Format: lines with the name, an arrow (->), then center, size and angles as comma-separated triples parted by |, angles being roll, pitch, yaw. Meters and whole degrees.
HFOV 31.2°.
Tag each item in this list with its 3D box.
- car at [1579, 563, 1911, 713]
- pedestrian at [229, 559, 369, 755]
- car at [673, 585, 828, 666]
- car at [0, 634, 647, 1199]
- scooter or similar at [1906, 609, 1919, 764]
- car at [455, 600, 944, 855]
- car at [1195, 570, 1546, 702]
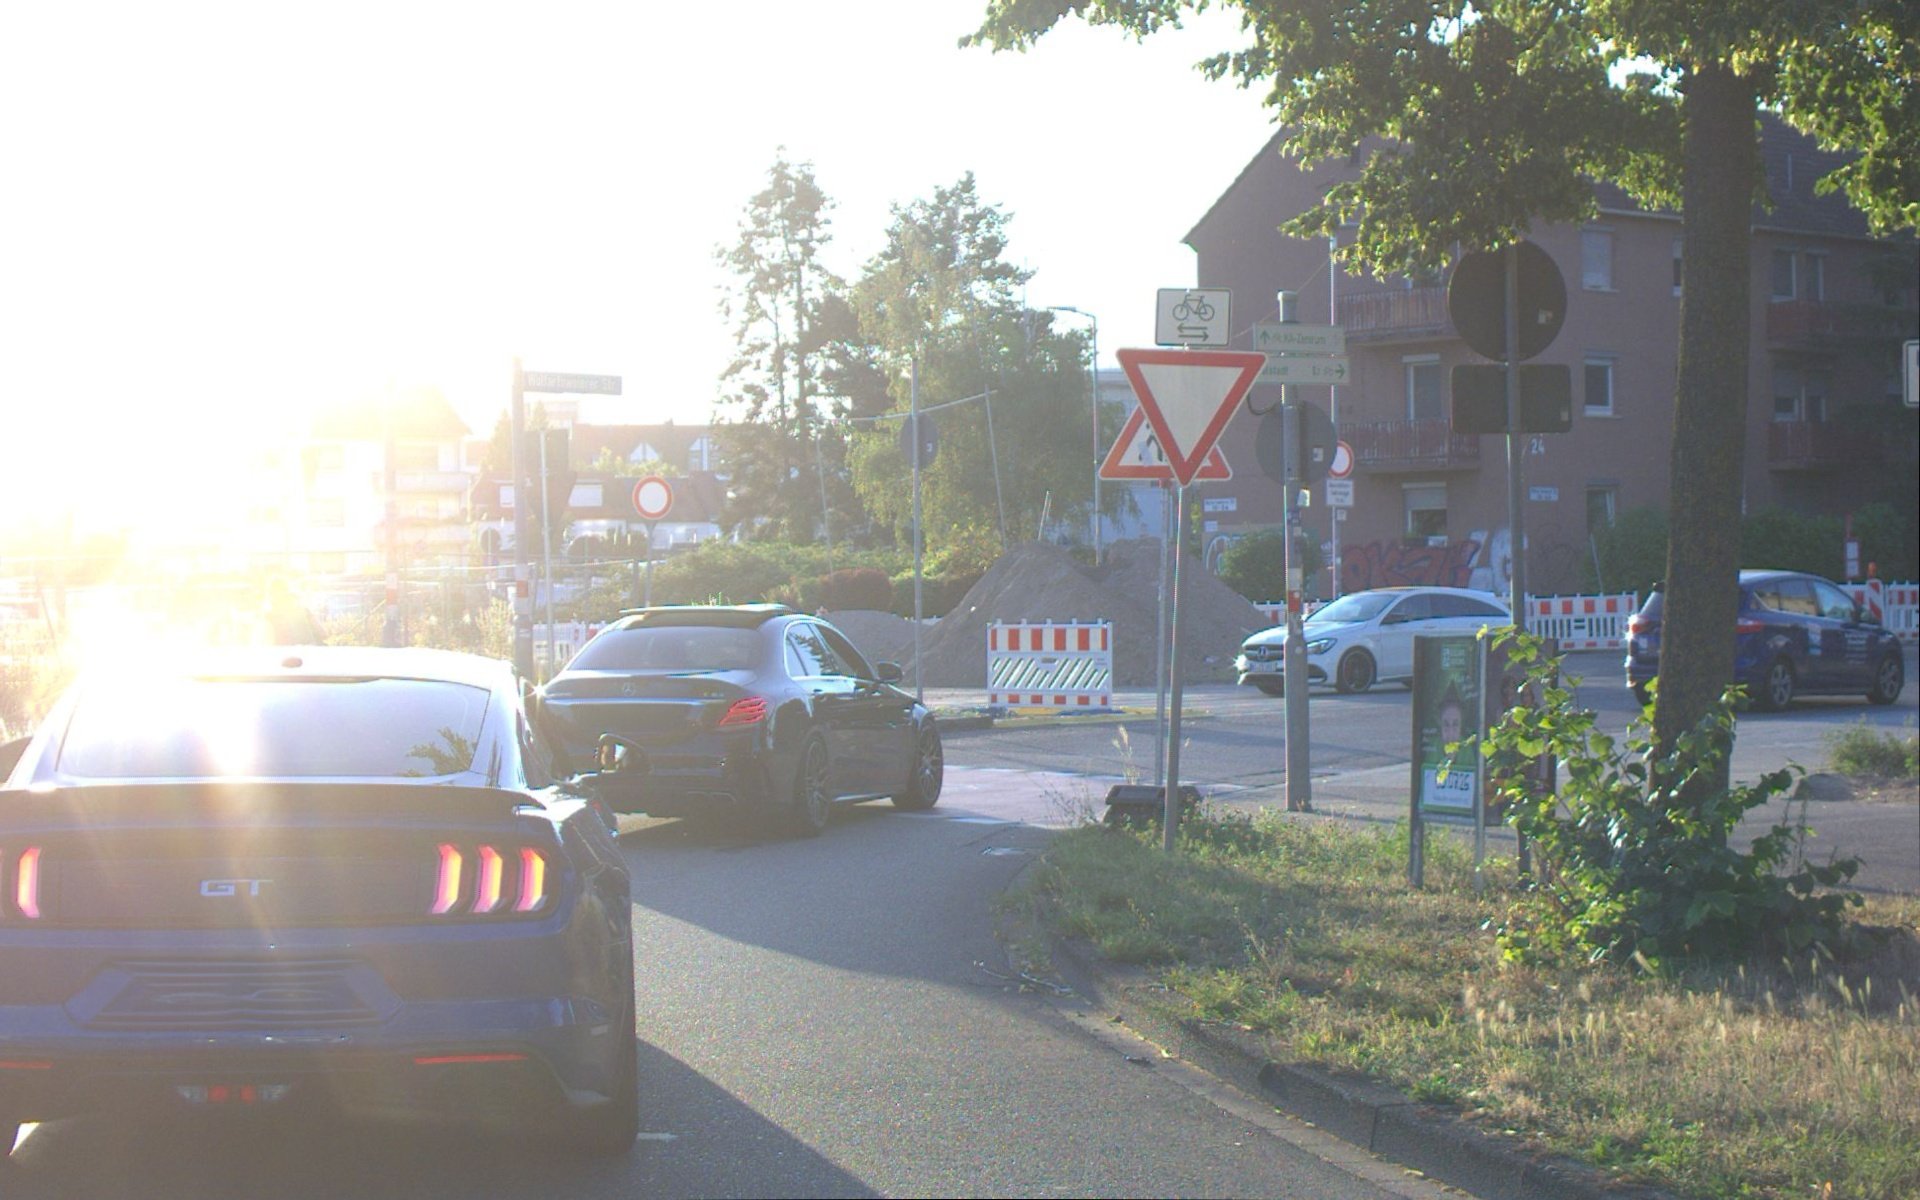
car -> 9.239, 0.428, 40.295 | 1.956, 1.597, 4.067 | -2, -1, 43
pedestrian -> -5.796, 0.485, 30.139 | 0.844, 1.680, 0.886 | -1, 1, -43
car -> -4.626, 0.545, 75.403 | 1.993, 1.700, 4.000 | -1, 0, -26
car -> -2.014, 0.808, 10.327 | 1.951, 1.337, 4.672 | 0, 0, -8
scooter or similar -> 8.225, 0.686, 27.613 | 1.120, 1.234, 0.442 | 0, 0, -5
car -> -1.573, 0.747, 22.564 | 1.952, 1.422, 4.427 | 0, 1, 13
car -> 5.714, 0.450, 47.590 | 4.642, 1.448, 2.075 | -4, 4, -36
